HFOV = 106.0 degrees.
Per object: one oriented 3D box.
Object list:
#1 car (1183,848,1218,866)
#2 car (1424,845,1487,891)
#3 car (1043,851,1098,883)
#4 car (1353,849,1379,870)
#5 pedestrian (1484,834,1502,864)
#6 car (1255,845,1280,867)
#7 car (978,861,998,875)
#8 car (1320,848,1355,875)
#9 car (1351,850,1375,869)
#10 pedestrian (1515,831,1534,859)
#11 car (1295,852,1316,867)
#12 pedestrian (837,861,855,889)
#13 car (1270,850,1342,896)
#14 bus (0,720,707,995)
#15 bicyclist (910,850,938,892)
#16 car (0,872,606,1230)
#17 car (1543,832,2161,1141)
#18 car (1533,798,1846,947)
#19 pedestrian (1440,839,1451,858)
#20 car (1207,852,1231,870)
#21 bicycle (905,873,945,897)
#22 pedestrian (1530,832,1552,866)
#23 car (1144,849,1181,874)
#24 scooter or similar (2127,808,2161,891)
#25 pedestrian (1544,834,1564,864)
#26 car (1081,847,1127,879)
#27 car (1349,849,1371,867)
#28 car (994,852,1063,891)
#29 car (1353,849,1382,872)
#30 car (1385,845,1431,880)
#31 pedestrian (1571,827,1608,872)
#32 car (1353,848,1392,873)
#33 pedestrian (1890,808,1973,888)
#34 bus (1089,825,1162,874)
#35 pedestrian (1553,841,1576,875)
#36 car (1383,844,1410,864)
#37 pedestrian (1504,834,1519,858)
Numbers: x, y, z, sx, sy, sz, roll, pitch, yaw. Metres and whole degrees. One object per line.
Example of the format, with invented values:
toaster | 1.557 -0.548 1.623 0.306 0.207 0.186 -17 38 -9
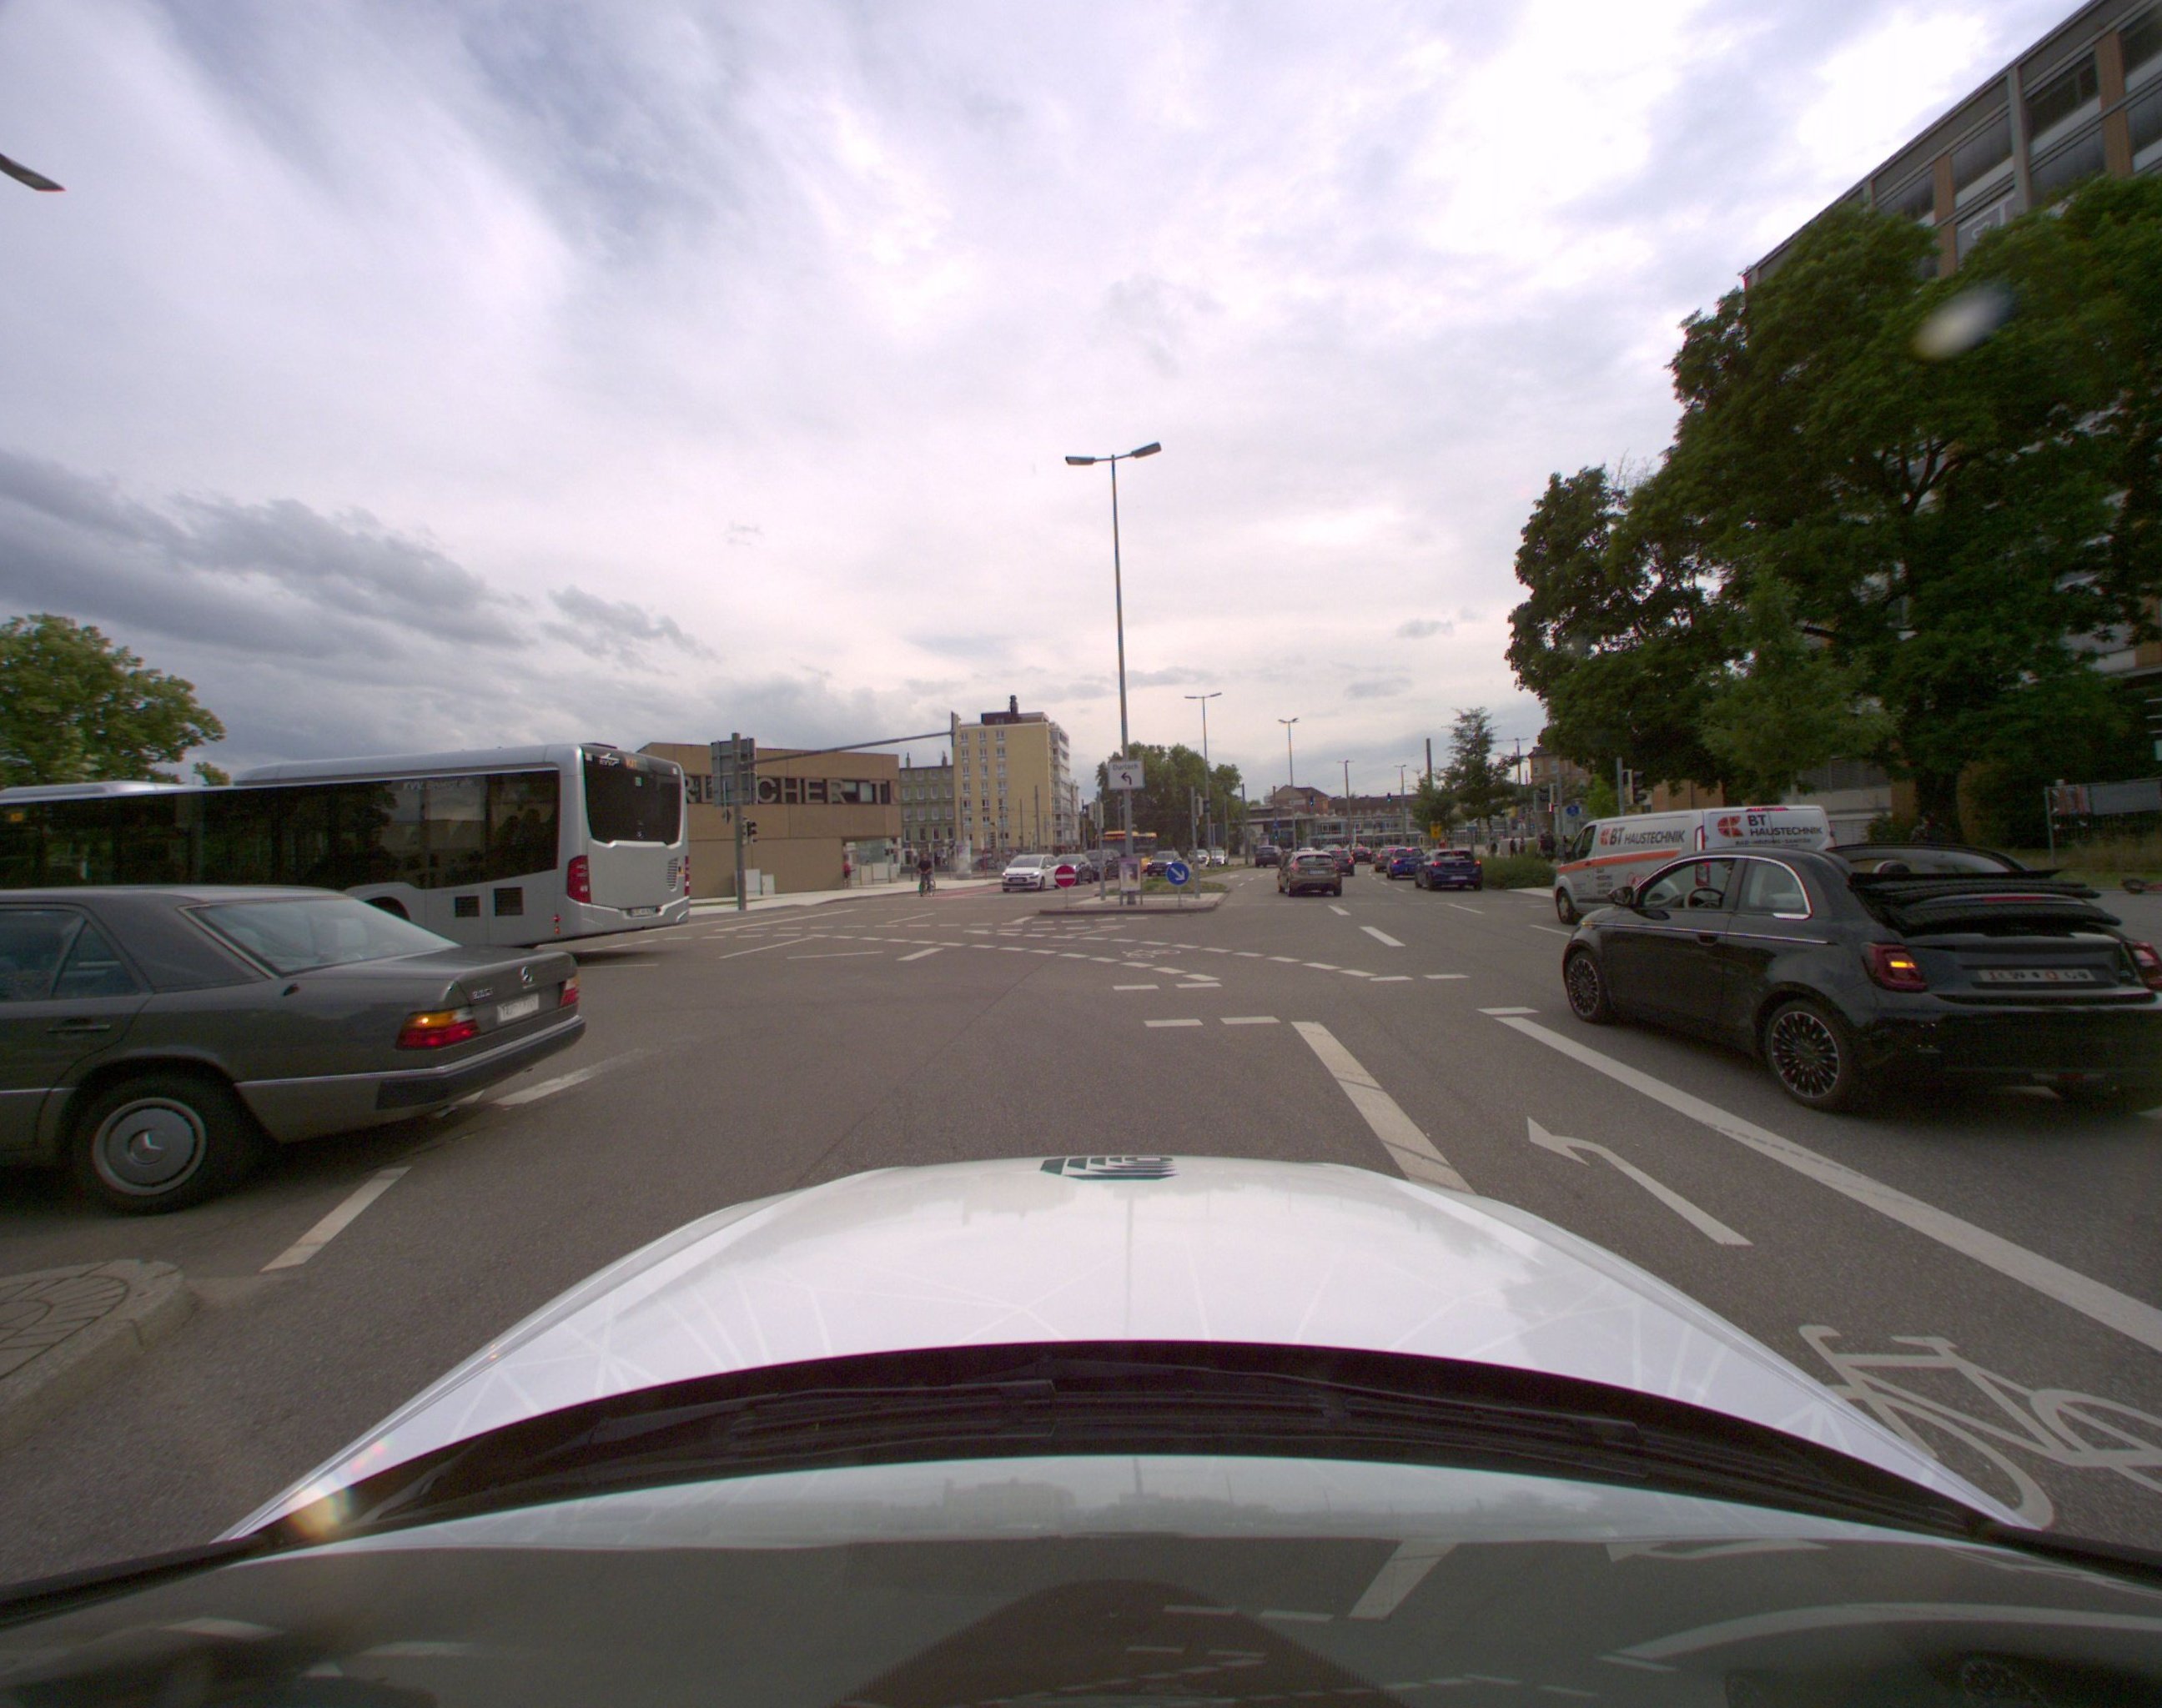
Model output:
car | 14.213 0.360 96.924 2.006 2.014 3.961 0 -1 -30
car | 12.919 0.463 28.280 1.652 1.508 3.652 -1 0 19
car | -0.510 0.706 44.285 1.980 1.651 4.305 -1 0 13
car | 20.429 0.411 58.505 1.697 1.420 4.019 -1 0 19
pedestrian | 22.185 -0.274 43.861 0.771 1.574 0.817 -4 -1 25
car | 14.408 0.165 63.006 1.822 1.615 3.558 -1 0 13
car | -13.722 2.122 120.500 1.982 2.014 4.009 -1 0 8
car | 14.208 0.391 45.002 1.697 1.420 4.019 -1 0 19
car | 22.121 0.428 63.881 1.697 1.420 3.364 -1 0 19
pedestrian | 25.579 -0.520 46.978 0.771 1.574 0.817 -4 -1 25
car | 21.328 0.518 77.266 1.697 1.420 4.019 -1 0 19
pedestrian | -14.727 1.322 50.947 0.815 1.733 0.772 -3 -1 -33
car | 7.366 0.590 26.973 1.687 1.405 3.705 -1 0 5
bus | -13.616 0.298 13.701 14.049 3.438 2.721 -4 -1 10
bicyclist | -6.416 0.695 33.334 0.862 1.669 0.883 -1 -1 8
car | -5.232 0.875 4.269 4.395 1.480 1.697 -1 0 -6
car | 4.932 0.657 5.689 1.658 1.489 3.445 -1 0 5
car | 9.492 0.259 13.393 1.809 1.959 5.216 -1 0 8
pedestrian | 31.728 -0.460 70.908 0.771 1.574 0.817 -4 -1 25
car | 13.249 0.621 78.005 1.980 1.651 4.528 -1 0 13
bicycle | -6.384 1.258 33.474 0.857 0.876 2.525 -1 0 8
pedestrian | 21.990 -0.255 38.969 0.771 1.574 0.817 -4 -1 25
car | 5.666 0.483 56.162 1.980 1.651 4.528 -1 0 13
scooter or similar | 18.035 -0.080 13.279 0.398 1.370 1.143 0 -1 -11
pedestrian | 25.271 -0.273 43.550 0.771 1.574 0.817 -4 -1 25
car | 1.462 0.531 50.116 1.980 1.898 4.305 -1 0 13
car | 23.379 0.356 68.274 1.697 1.420 4.019 -1 0 19
car | -2.302 0.770 37.121 1.980 1.651 4.305 -1 0 13
car | 18.738 0.396 53.273 1.697 1.420 4.019 -1 0 19
car | 15.431 0.395 38.578 1.842 1.533 4.022 -1 0 19
pedestrian | 19.362 -0.166 31.011 0.775 1.711 1.028 -1 -1 2
car | 17.515 0.382 49.031 2.115 1.420 3.718 -1 0 19
pedestrian | 17.688 -0.120 16.948 0.775 1.574 0.812 -4 -1 2
bus | 3.597 -0.273 61.040 3.125 3.255 12.461 -1 0 14
pedestrian | 23.162 0.200 39.047 0.771 1.574 0.817 -4 -1 25
car | 22.746 -0.007 58.830 1.690 1.420 3.718 -1 0 19
pedestrian | 28.319 -0.532 53.561 0.771 1.574 0.817 -4 -1 25
